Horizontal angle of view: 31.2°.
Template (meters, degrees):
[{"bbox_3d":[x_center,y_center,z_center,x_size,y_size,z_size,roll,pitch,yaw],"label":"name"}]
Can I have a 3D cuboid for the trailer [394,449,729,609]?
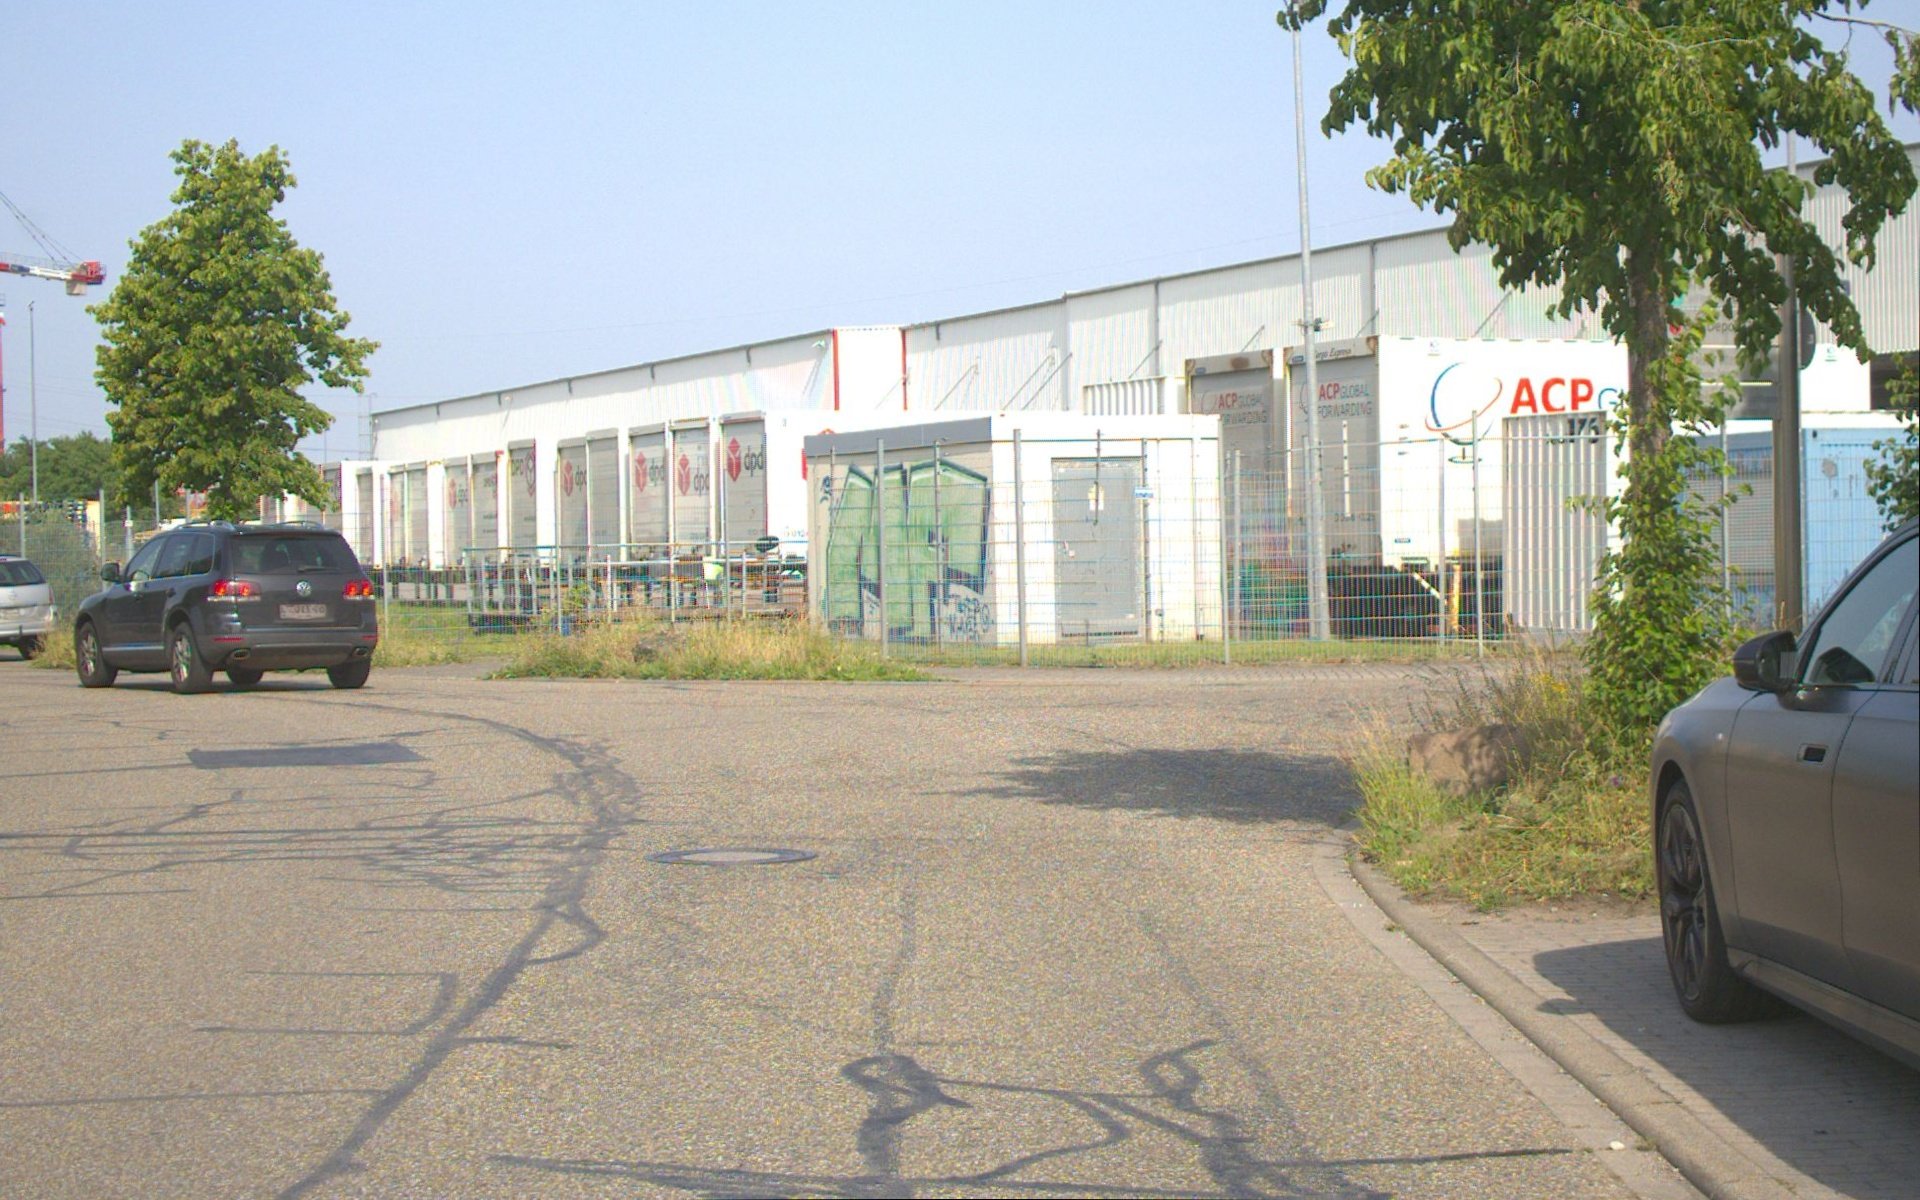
[{"bbox_3d":[-10.164,-1.786,87.850,7.960,3.880,2.776,1,1,-24],"label":"trailer"}]

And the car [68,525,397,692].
[{"bbox_3d":[-7.499,0.071,35.173,1.881,1.581,4.113,-2,1,-34],"label":"car"}]

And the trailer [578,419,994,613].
[{"bbox_3d":[-3.674,-1.737,72.990,8.305,3.880,2.776,1,1,-24],"label":"trailer"}]

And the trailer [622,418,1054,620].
[{"bbox_3d":[-2.457,-1.605,70.181,8.305,3.880,2.776,1,1,-24],"label":"trailer"}]

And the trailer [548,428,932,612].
[{"bbox_3d":[-4.888,-1.740,76.784,8.031,3.880,2.776,1,1,-24],"label":"trailer"}]

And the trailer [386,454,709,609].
[{"bbox_3d":[-10.897,-1.790,90.893,7.960,3.880,2.776,1,1,-24],"label":"trailer"}]

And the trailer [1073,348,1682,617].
[{"bbox_3d":[6.230,-1.689,50.916,8.730,3.748,2.791,-1,0,-24],"label":"trailer"}]

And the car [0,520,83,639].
[{"bbox_3d":[-14.708,-0.290,49.972,1.800,1.620,4.447,-4,3,-43],"label":"car"}]

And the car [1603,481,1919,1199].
[{"bbox_3d":[2.991,0.477,8.167,1.880,1.568,5.119,-3,1,0],"label":"car"}]

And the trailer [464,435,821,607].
[{"bbox_3d":[-7.566,-1.851,82.163,7.960,3.880,2.776,1,1,-24],"label":"trailer"}]

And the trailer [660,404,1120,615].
[{"bbox_3d":[-1.348,-1.718,67.334,8.534,3.880,2.776,1,1,-24],"label":"trailer"}]

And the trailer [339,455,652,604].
[{"bbox_3d":[-12.715,-1.907,94.204,7.960,3.880,2.776,1,1,-24],"label":"trailer"}]

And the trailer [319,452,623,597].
[{"bbox_3d":[-13.775,-2.094,97.002,7.960,3.880,2.776,1,1,-24],"label":"trailer"}]

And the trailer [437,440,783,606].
[{"bbox_3d":[-8.639,-1.880,84.981,7.960,3.880,2.776,1,1,-24],"label":"trailer"}]

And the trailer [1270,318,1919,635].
[{"bbox_3d":[8.597,-1.590,45.379,8.534,3.881,2.776,-1,-1,-22],"label":"trailer"}]

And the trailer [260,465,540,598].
[{"bbox_3d":[-17.149,-2.078,105.346,7.960,3.880,2.743,1,1,-24],"label":"trailer"}]

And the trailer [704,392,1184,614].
[{"bbox_3d":[-0.271,-1.752,64.382,8.534,3.880,2.776,1,1,-24],"label":"trailer"}]

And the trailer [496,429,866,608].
[{"bbox_3d":[-6.424,-1.842,79.365,7.960,3.880,2.776,1,1,-24],"label":"trailer"}]

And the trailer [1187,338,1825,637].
[{"bbox_3d":[7.665,-1.616,48.054,8.534,3.880,2.776,-2,1,-22],"label":"trailer"}]
